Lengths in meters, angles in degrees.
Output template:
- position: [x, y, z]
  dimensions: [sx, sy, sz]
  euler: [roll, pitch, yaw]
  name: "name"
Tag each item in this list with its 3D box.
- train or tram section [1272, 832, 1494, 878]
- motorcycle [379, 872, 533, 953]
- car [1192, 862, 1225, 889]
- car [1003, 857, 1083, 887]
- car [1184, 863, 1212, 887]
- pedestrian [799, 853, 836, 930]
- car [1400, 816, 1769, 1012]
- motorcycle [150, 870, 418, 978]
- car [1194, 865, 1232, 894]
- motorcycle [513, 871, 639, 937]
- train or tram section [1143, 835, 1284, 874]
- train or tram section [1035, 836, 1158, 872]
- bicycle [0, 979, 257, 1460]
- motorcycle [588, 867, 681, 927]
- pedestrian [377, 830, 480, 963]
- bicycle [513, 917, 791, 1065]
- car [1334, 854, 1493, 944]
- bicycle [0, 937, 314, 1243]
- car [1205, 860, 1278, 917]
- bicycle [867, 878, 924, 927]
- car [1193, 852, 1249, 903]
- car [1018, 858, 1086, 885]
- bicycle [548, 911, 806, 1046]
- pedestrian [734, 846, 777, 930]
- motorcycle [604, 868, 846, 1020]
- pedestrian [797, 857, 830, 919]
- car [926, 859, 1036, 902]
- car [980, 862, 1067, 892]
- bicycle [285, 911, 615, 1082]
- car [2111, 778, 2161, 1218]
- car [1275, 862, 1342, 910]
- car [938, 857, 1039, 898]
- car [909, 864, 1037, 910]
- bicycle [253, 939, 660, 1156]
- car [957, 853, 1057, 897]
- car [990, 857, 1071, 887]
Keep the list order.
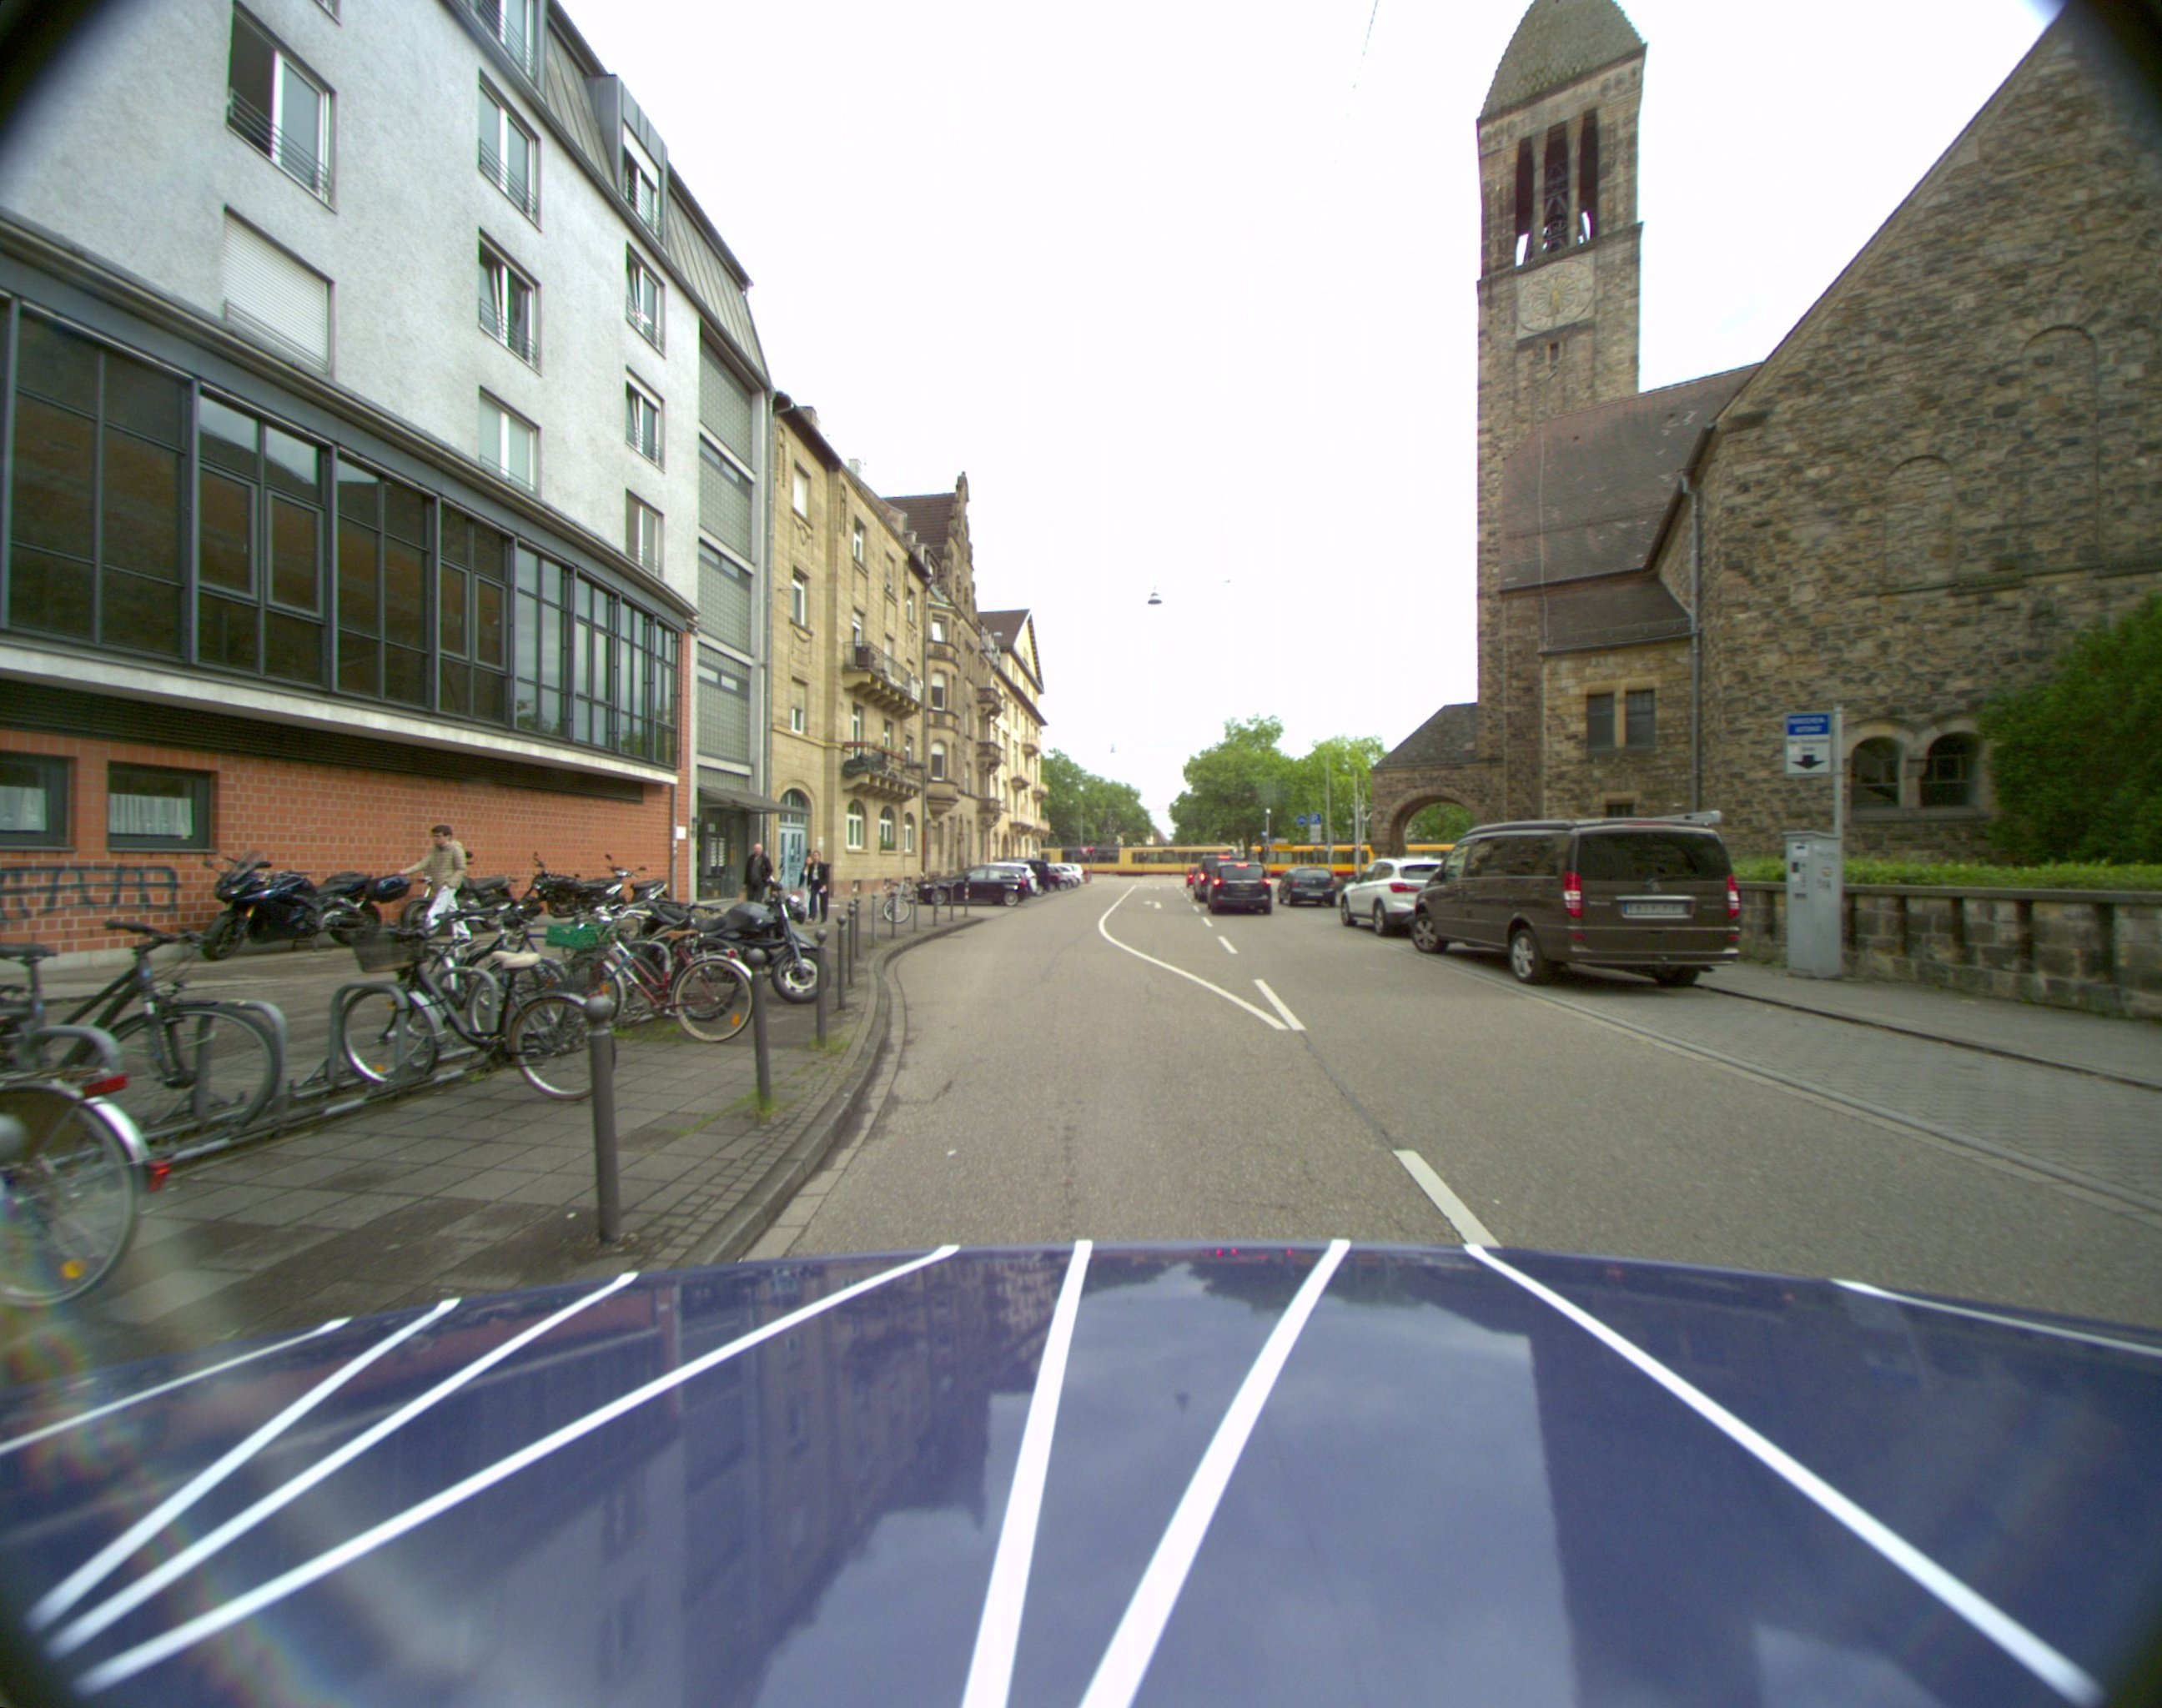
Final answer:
- position: [29.139, 0.057, 74.593]
  dimensions: [19.892, 4.069, 3.635]
  euler: [0, 1, 32]
  name: "train or tram section"
- position: [-9.913, 0.879, 12.168]
  dimensions: [0.602, 1.137, 2.071]
  euler: [1, 0, 6]
  name: "motorcycle"
- position: [7.595, 1.262, 45.499]
  dimensions: [1.605, 1.448, 3.719]
  euler: [2, 0, 5]
  name: "car"
- position: [-2.421, 1.159, 48.711]
  dimensions: [4.761, 1.675, 1.932]
  euler: [2, 0, -30]
  name: "car"
- position: [7.914, 1.423, 51.582]
  dimensions: [1.652, 1.519, 3.896]
  euler: [2, -1, 6]
  name: "car"
- position: [-5.855, 0.815, 16.890]
  dimensions: [0.519, 1.652, 0.717]
  euler: [2, 1, 3]
  name: "pedestrian"
- position: [6.258, 0.644, 10.425]
  dimensions: [2.017, 2.002, 5.186]
  euler: [0, -1, 5]
  name: "car"
- position: [-10.106, 0.826, 9.810]
  dimensions: [1.030, 1.195, 2.210]
  euler: [1, 0, 5]
  name: "motorcycle"
- position: [6.745, 1.291, 39.108]
  dimensions: [1.708, 1.279, 4.044]
  euler: [2, 0, 8]
  name: "car"
- position: [-9.452, 0.897, 14.296]
  dimensions: [0.601, 1.137, 1.886]
  euler: [1, 0, 31]
  name: "motorcycle"
- position: [14.390, 0.037, 83.823]
  dimensions: [14.996, 4.069, 3.588]
  euler: [0, 1, 32]
  name: "train or tram section"
- position: [1.673, 0.018, 91.733]
  dimensions: [14.996, 4.069, 3.661]
  euler: [0, 1, 32]
  name: "train or tram section"
- position: [-3.748, 0.999, 2.306]
  dimensions: [1.888, 1.134, 0.612]
  euler: [1, 1, 3]
  name: "bicycle"
- position: [-9.398, 0.904, 16.056]
  dimensions: [0.601, 1.186, 1.570]
  euler: [1, -2, 29]
  name: "motorcycle"
- position: [-9.043, 0.572, 10.559]
  dimensions: [0.631, 1.743, 0.812]
  euler: [3, 0, 3]
  name: "pedestrian"
- position: [-3.439, 1.080, 6.170]
  dimensions: [1.933, 1.037, 0.612]
  euler: [1, 1, 3]
  name: "bicycle"
- position: [6.935, 0.881, 16.400]
  dimensions: [1.847, 1.678, 4.435]
  euler: [0, -1, 5]
  name: "car"
- position: [-4.687, 0.993, 3.425]
  dimensions: [1.888, 1.134, 0.612]
  euler: [1, 1, 3]
  name: "bicycle"
- position: [5.052, 1.031, 24.434]
  dimensions: [1.848, 1.674, 4.551]
  euler: [0, -1, 6]
  name: "car"
- position: [-4.592, 1.174, 18.738]
  dimensions: [0.731, 1.097, 1.732]
  euler: [2, 0, -35]
  name: "bicycle"
- position: [5.731, 0.917, 31.647]
  dimensions: [1.916, 1.943, 5.287]
  euler: [0, -1, 6]
  name: "car"
- position: [-1.978, 1.187, 51.928]
  dimensions: [4.232, 1.672, 1.911]
  euler: [2, 1, -28]
  name: "car"
- position: [-3.596, 1.093, 6.838]
  dimensions: [2.013, 1.056, 0.612]
  euler: [1, 1, 3]
  name: "bicycle"
- position: [-7.031, 0.715, 16.428]
  dimensions: [0.644, 1.761, 0.541]
  euler: [2, 1, 4]
  name: "pedestrian"
- position: [-3.621, 0.889, 7.832]
  dimensions: [2.139, 1.421, 0.771]
  euler: [1, 1, 3]
  name: "motorcycle"
- position: [-6.621, 0.826, 18.805]
  dimensions: [0.519, 1.501, 0.717]
  euler: [2, 1, 3]
  name: "pedestrian"
- position: [-4.061, 1.063, 30.775]
  dimensions: [4.006, 1.524, 1.928]
  euler: [3, -1, -23]
  name: "car"
- position: [-3.176, 1.294, 42.456]
  dimensions: [4.474, 1.543, 1.847]
  euler: [1, 0, -33]
  name: "car"
- position: [-4.527, 0.999, 5.524]
  dimensions: [1.933, 1.071, 0.612]
  euler: [1, 1, 3]
  name: "bicycle"
- position: [5.357, 0.599, 1.119]
  dimensions: [1.847, 1.928, 4.551]
  euler: [-1, -1, 8]
  name: "car"
- position: [8.228, 1.111, 27.791]
  dimensions: [1.650, 1.500, 3.773]
  euler: [-2, 1, 6]
  name: "car"
- position: [-4.034, 1.049, 33.385]
  dimensions: [4.009, 1.591, 1.761]
  euler: [4, -2, -34]
  name: "car"
- position: [-3.959, 1.206, 27.888]
  dimensions: [4.268, 1.469, 1.681]
  euler: [4, -1, -27]
  name: "car"
- position: [-3.532, 1.070, 4.384]
  dimensions: [1.888, 1.037, 0.612]
  euler: [1, 1, 3]
  name: "bicycle"
- position: [-3.519, 1.015, 36.479]
  dimensions: [4.292, 1.895, 1.875]
  euler: [4, -2, -35]
  name: "car"
- position: [-2.987, 1.095, 45.454]
  dimensions: [4.474, 1.564, 1.743]
  euler: [3, -1, -33]
  name: "car"
